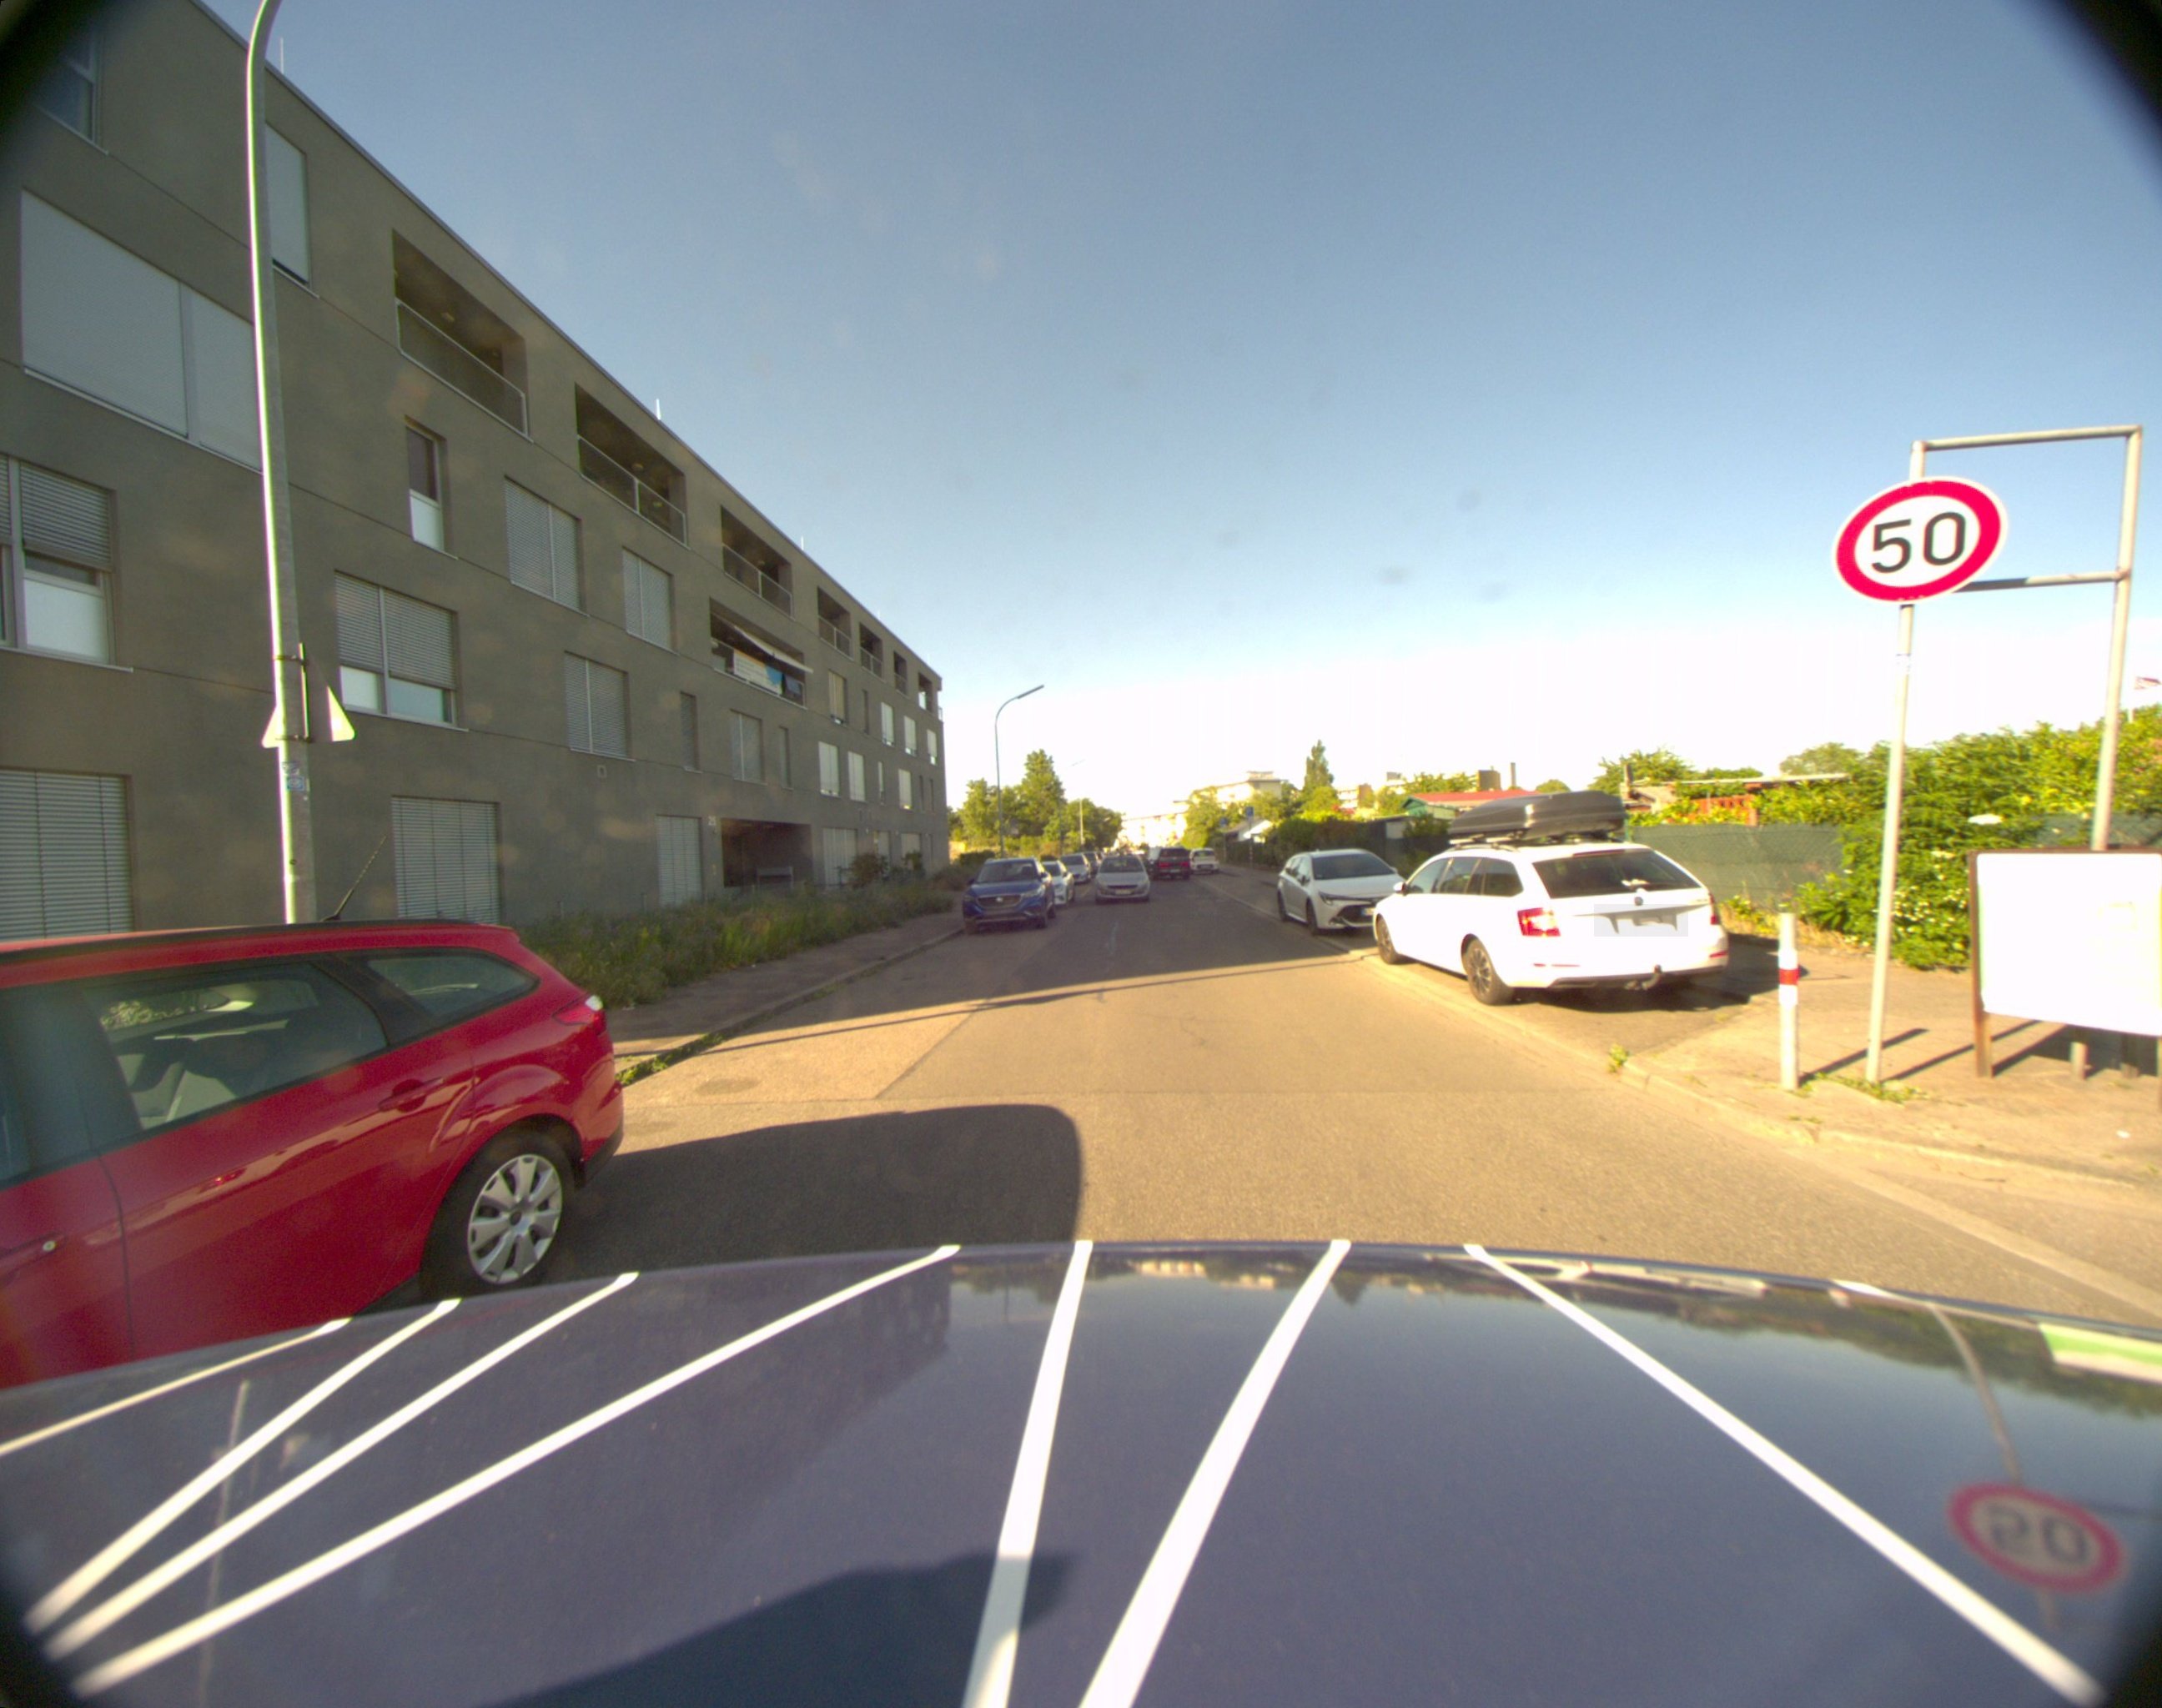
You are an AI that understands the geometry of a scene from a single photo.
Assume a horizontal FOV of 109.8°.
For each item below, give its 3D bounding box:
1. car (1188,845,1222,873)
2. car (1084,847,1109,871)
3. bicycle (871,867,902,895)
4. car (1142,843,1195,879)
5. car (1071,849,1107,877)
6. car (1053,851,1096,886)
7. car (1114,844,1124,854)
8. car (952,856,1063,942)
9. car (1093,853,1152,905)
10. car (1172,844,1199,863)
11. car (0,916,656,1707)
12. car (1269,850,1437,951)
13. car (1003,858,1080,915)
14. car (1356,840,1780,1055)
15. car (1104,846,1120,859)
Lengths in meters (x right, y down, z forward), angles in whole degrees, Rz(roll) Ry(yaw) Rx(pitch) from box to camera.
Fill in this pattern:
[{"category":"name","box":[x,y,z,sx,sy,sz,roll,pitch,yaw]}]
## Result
[{"category":"car","box":[7.132,0.259,43.825,1.531,1.479,3.402,-3,1,4]},{"category":"car","box":[1.232,0.351,58.389,1.711,1.695,4.350,-5,1,3]},{"category":"bicycle","box":[-8.260,1.135,32.366,0.553,1.055,1.843,-3,1,8]},{"category":"car","box":[4.524,0.325,39.853,1.948,1.717,4.836,-2,0,-3]},{"category":"car","box":[0.572,0.522,48.034,1.748,1.557,4.804,-4,1,6]},{"category":"car","box":[-0.287,0.703,39.036,1.710,1.517,4.156,-4,1,5]},{"category":"car","box":[8.185,-1.142,162.127,1.998,2.002,4.001,-2,1,4]},{"category":"car","box":[-1.575,0.942,18.036,1.821,1.590,4.628,-5,0,3]},{"category":"car","box":[1.396,0.748,24.680,1.678,1.440,4.001,-2,1,5]},{"category":"car","box":[8.426,-0.072,61.587,1.699,1.415,4.517,-5,0,4]},{"category":"car","box":[-3.105,1.111,1.434,1.823,1.491,4.452,-3,0,3]},{"category":"car","box":[4.897,0.738,14.404,1.751,1.437,4.542,-5,0,4]},{"category":"car","box":[-1.127,0.955,24.017,1.749,1.421,4.586,-4,0,5]},{"category":"car","box":[4.495,0.710,8.019,1.699,1.504,4.518,-5,0,4]},{"category":"car","box":[4.025,-0.222,98.677,1.872,1.517,4.156,-3,1,5]}]
